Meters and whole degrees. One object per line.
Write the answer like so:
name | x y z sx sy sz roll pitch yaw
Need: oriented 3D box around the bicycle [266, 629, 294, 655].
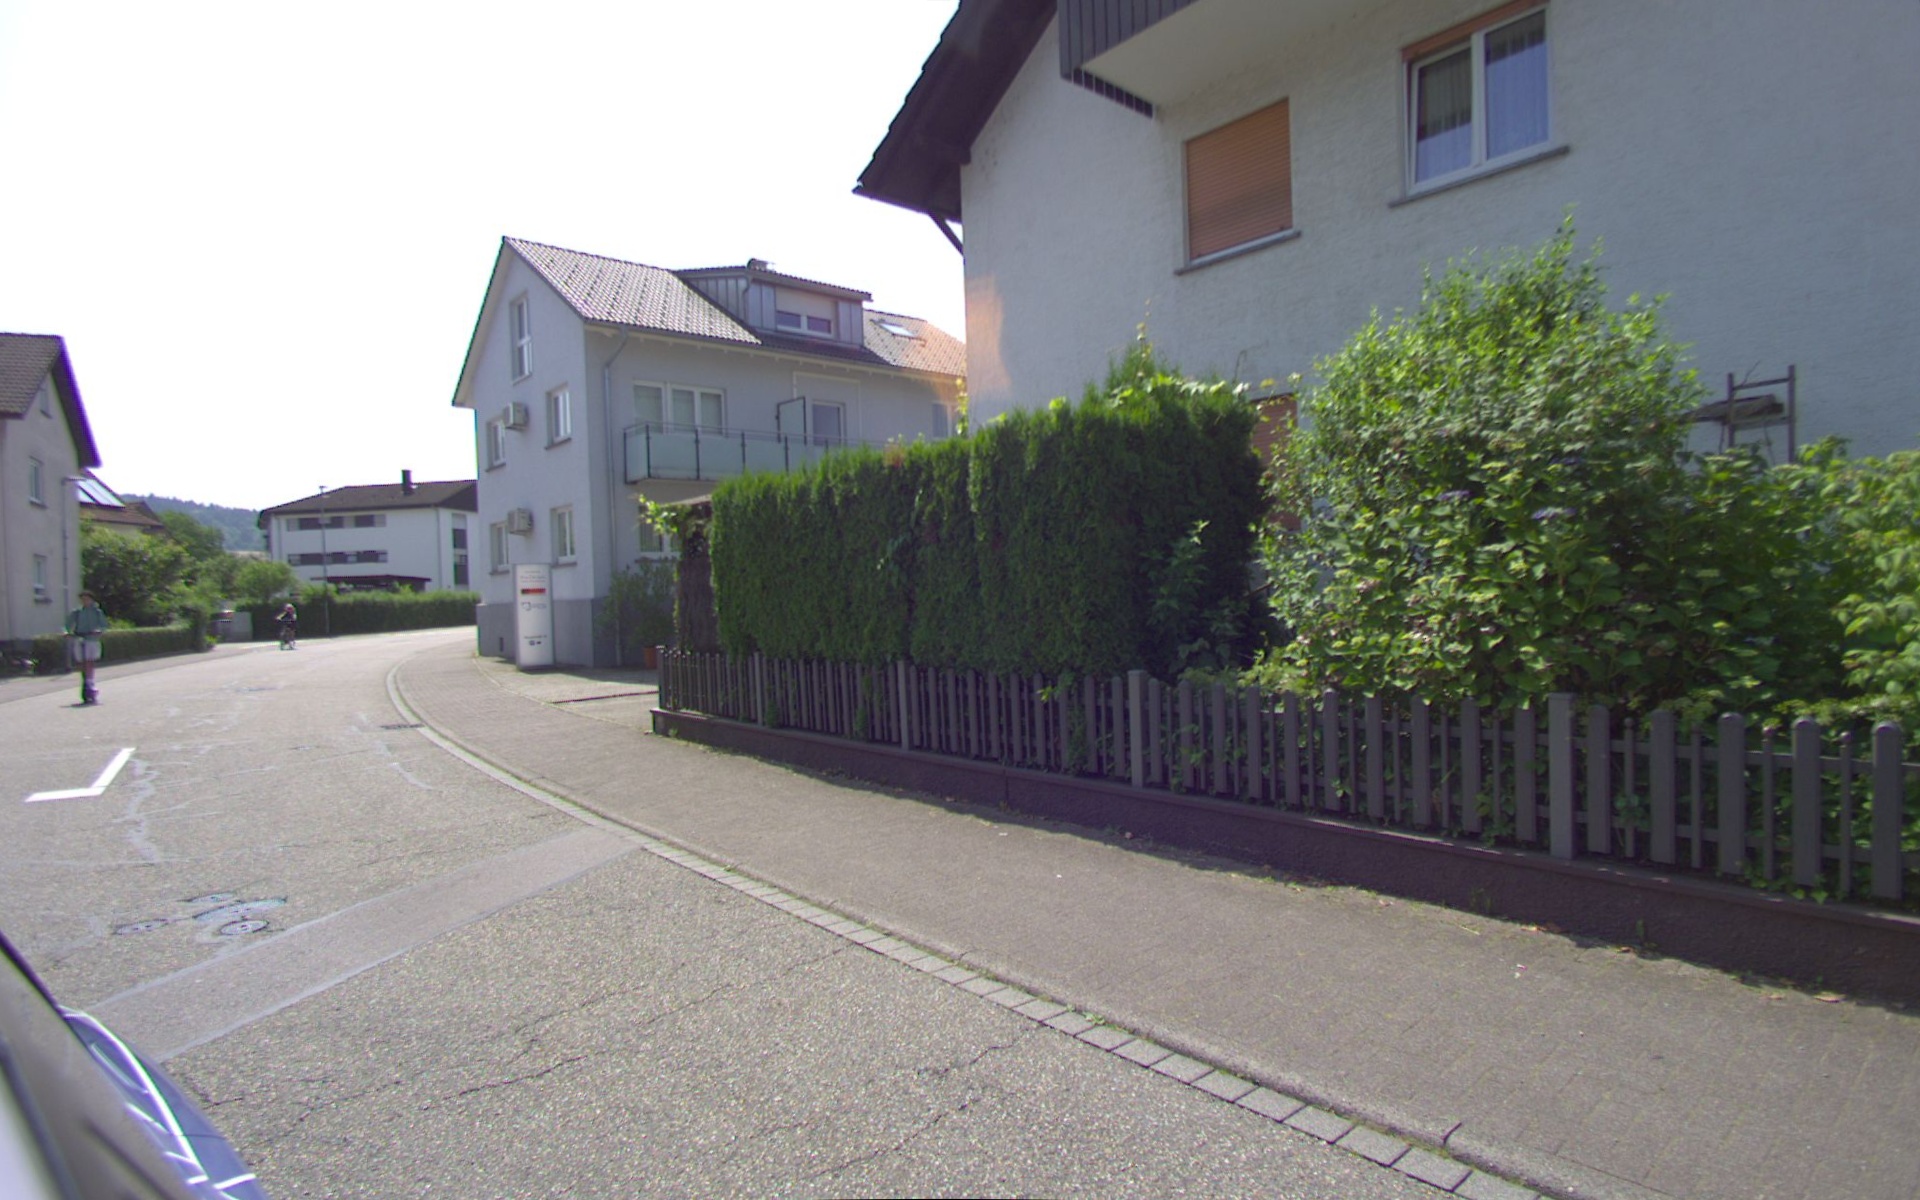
bicycle | -25.383 1.555 37.818 0.513 0.911 1.317 -2 0 -18

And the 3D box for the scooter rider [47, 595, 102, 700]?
scooter rider | -15.245 0.800 17.436 0.607 1.737 0.642 -2 0 -34

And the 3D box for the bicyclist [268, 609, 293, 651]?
bicyclist | -25.403 1.115 37.844 0.538 1.501 0.799 -1 0 -18

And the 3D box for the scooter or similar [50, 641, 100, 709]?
scooter or similar | -15.234 1.278 17.432 0.534 1.098 0.693 -2 0 -34

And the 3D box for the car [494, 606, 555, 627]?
car | -36.864 1.371 85.723 4.233 1.684 2.065 0 0 0
